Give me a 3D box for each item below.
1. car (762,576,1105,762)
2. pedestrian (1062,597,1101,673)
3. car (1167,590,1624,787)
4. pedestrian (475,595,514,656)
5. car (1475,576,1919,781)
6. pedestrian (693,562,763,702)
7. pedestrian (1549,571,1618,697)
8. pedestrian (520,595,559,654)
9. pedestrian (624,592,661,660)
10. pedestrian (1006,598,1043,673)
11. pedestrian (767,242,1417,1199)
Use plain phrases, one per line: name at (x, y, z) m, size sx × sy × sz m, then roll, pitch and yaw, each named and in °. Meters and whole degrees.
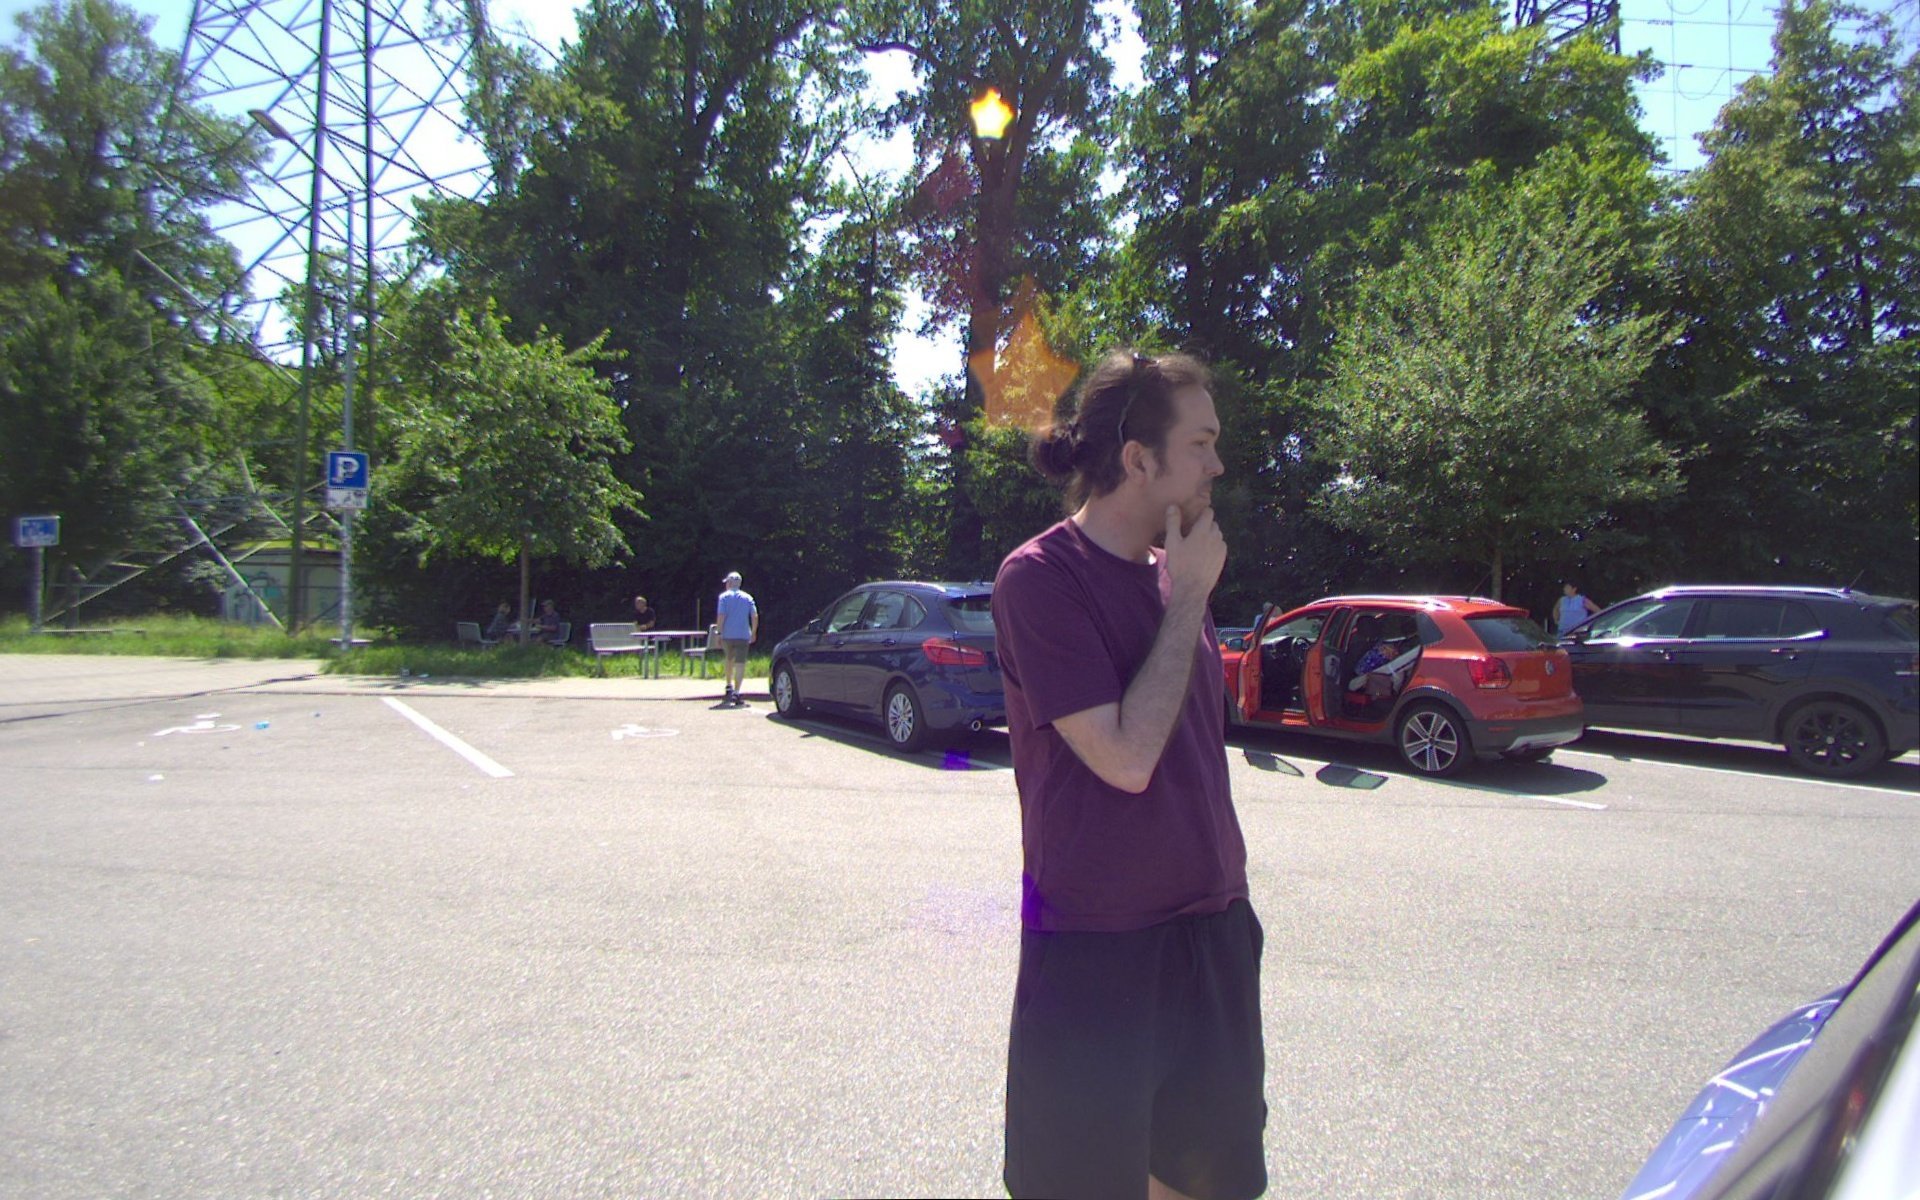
car at (-0.467, 0.563, 10.656) m, size 1.776 × 1.562 × 3.940 m, roll 1°, pitch 0°, yaw -34°
pedestrian at (2.030, 0.588, 17.006) m, size 0.576 × 1.251 × 0.697 m, roll 0°, pitch -1°, yaw 1°
car at (3.870, 0.650, 9.584) m, size 1.559 × 1.467 × 3.737 m, roll 1°, pitch 0°, yaw -33°
pedestrian at (-10.504, 0.566, 22.828) m, size 0.687 × 1.352 × 0.563 m, roll 0°, pitch 0°, yaw -40°
car at (7.236, 0.600, 9.700) m, size 1.707 × 1.607 × 3.732 m, roll 1°, pitch 0°, yaw -39°
pedestrian at (-2.992, 0.397, 13.110) m, size 0.664 × 1.754 × 0.832 m, roll 0°, pitch 0°, yaw 5°
pedestrian at (9.407, 0.504, 15.288) m, size 0.755 × 1.854 × 0.518 m, roll 0°, pitch 0°, yaw 17°
pedestrian at (-9.747, 0.555, 23.466) m, size 0.687 × 1.352 × 0.563 m, roll 0°, pitch 0°, yaw -40°
pedestrian at (-6.675, 0.530, 21.306) m, size 0.553 × 1.408 × 0.700 m, roll 0°, pitch 0°, yaw 2°
pedestrian at (1.083, 0.592, 17.072) m, size 0.576 × 1.251 × 0.697 m, roll 0°, pitch -1°, yaw 1°
pedestrian at (0.201, 0.469, 1.768) m, size 0.846 × 1.857 × 0.863 m, roll 0°, pitch 0°, yaw 6°
